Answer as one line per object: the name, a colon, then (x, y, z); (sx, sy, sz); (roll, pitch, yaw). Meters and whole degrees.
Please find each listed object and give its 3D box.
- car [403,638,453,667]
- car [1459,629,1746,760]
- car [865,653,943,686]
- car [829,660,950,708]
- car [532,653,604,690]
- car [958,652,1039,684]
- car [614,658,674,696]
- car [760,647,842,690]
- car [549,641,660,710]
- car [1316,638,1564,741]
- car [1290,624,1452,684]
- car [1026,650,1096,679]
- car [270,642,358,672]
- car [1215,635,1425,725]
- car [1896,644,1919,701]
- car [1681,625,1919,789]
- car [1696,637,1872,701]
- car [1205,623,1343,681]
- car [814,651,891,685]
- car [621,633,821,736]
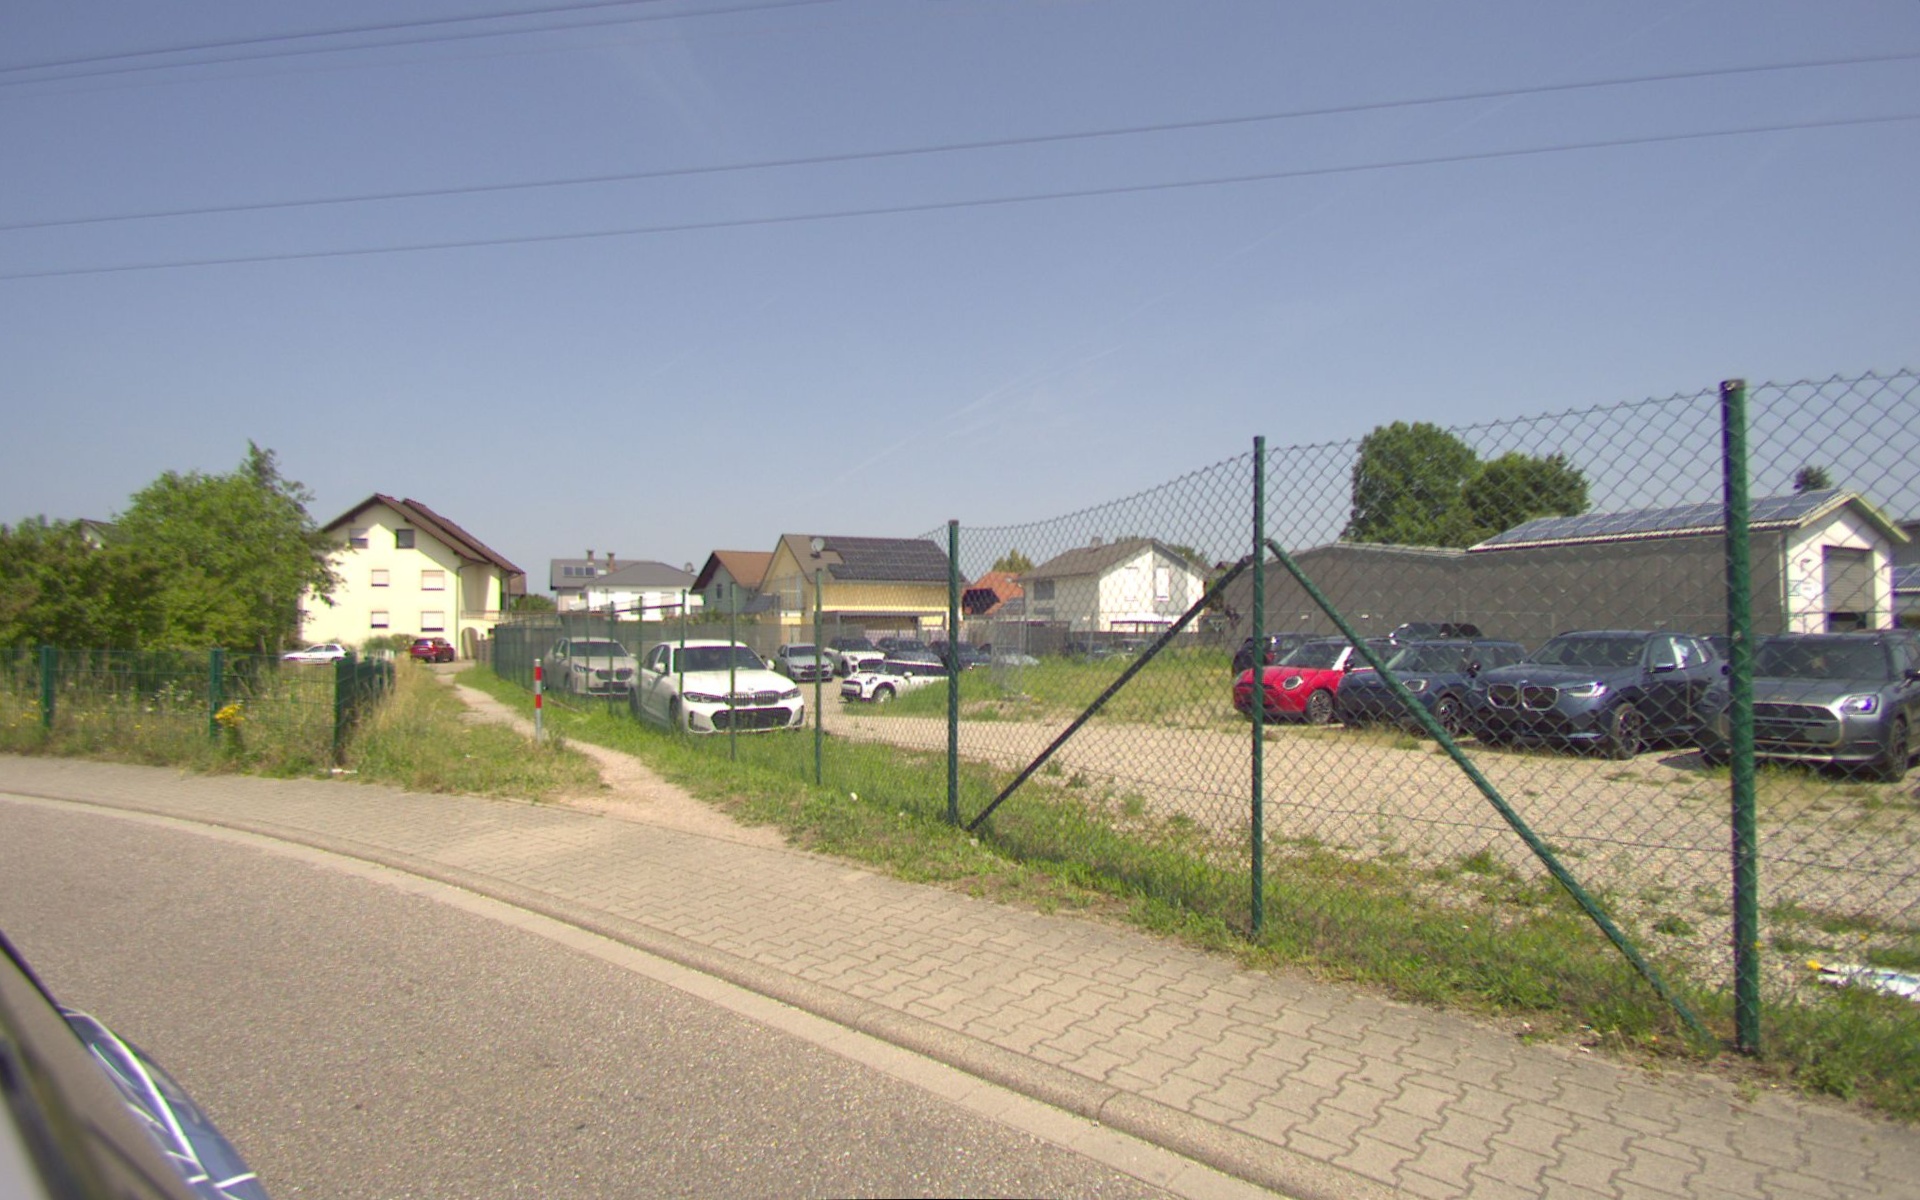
car: (-34.327, 3.356, 65.400); (1.836, 1.741, 4.145); (1, -2, -13)
car: (8.888, 1.198, 13.988); (3.633, 1.573, 1.874); (1, -2, -30)
car: (-2.485, 2.989, 44.019); (1.763, 1.245, 4.148); (1, -2, -29)
car: (-2.168, 2.555, 31.225); (3.333, 1.325, 1.664); (1, -2, -28)
car: (-13.955, 2.491, 35.903); (1.835, 1.116, 4.016); (1, -2, -29)
car: (1.688, 3.044, 45.777); (1.763, 1.245, 4.148); (1, -2, -29)
car: (-12.004, 2.863, 38.318); (1.461, 1.256, 3.640); (1, -2, -29)
car: (-6.605, 2.777, 41.678); (2.007, 1.548, 4.148); (1, -2, -29)
car: (-9.436, 1.901, 26.650); (2.007, 1.574, 4.451); (1, -2, -29)
car: (7.715, 1.346, 16.247); (3.586, 1.444, 1.874); (1, -2, -30)
car: (9.633, 1.216, 23.712); (3.382, 1.308, 1.874); (1, -2, -32)
car: (4.873, 3.101, 49.324); (1.763, 1.245, 3.620); (1, -2, -27)
car: (-38.469, 3.377, 60.393); (4.018, 1.697, 1.869); (0, -2, -12)
car: (6.602, 1.393, 18.542); (3.382, 1.464, 1.874); (1, -2, -30)
car: (22.514, 1.561, 22.035); (4.525, 1.184, 1.874); (1, -2, -30)
car: (10.474, 1.127, 11.937); (3.571, 1.656, 1.874); (1, -2, -30)
car: (20.394, 1.644, 25.026); (4.525, 1.444, 1.874); (1, -2, -30)
car: (8.321, 1.337, 26.729); (3.385, 1.425, 1.872); (1, -2, -37)
car: (-4.618, 2.848, 43.053); (1.763, 1.245, 4.148); (1, -2, -29)
car: (-3.858, 1.193, 15.705); (1.836, 1.317, 4.576); (1, -2, -29)
